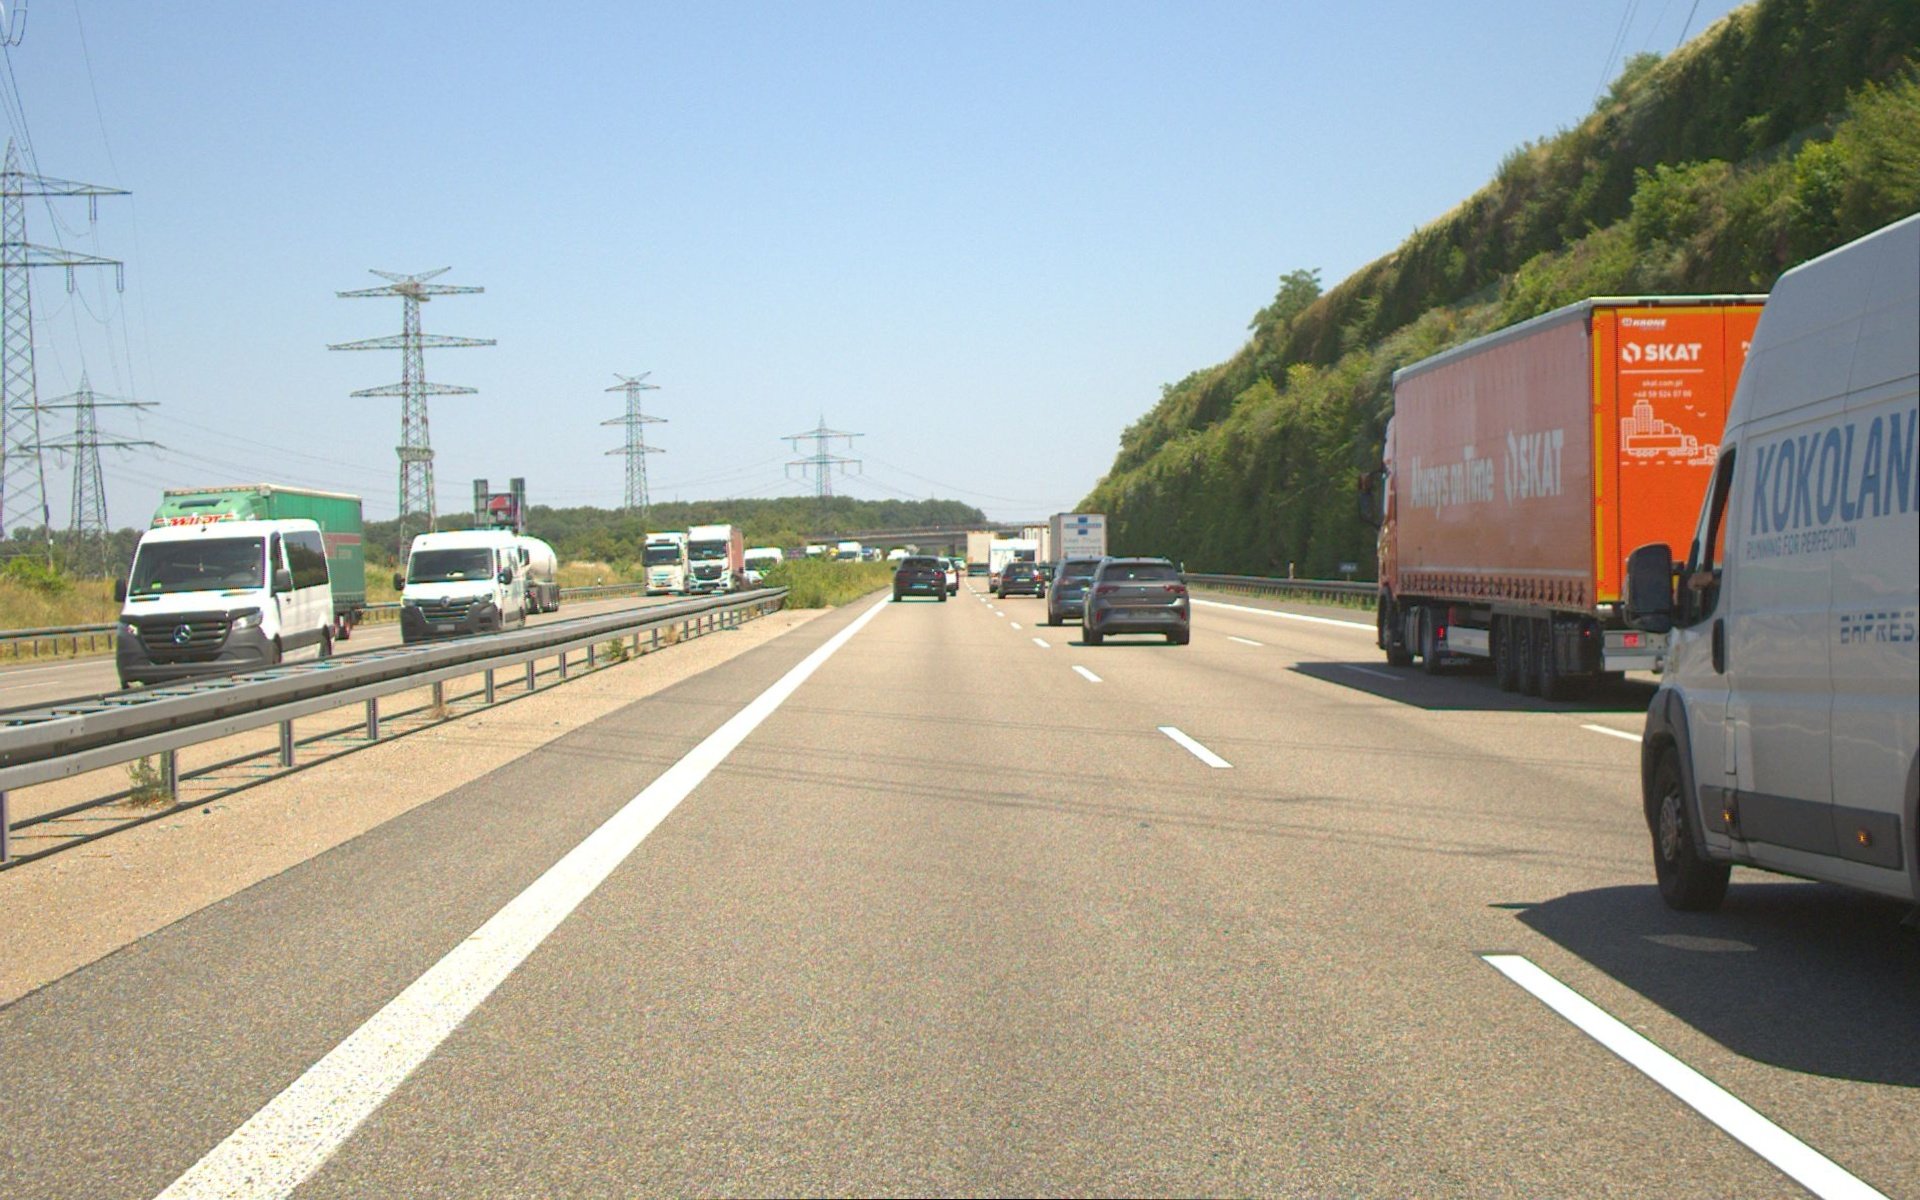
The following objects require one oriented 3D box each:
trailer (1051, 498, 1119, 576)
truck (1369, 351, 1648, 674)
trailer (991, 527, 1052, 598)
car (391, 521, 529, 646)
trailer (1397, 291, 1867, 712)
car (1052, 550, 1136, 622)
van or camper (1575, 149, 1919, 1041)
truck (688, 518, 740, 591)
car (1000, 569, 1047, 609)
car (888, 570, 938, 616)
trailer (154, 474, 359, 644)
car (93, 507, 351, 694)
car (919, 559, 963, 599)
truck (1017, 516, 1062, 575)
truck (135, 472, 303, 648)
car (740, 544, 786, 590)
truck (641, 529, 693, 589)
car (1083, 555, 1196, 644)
[{"bbox_3d":[6.882,-3.458,190.965,3.183,4.107,13.431,-1,1,0],"label":"trailer"},{"bbox_3d":[7.194,-1.125,45.921,2.618,3.979,6.527,-1,1,0],"label":"truck"},{"bbox_3d":[2.893,-1.785,164.405,2.610,3.202,9.953,-1,1,0],"label":"trailer"},{"bbox_3d":[-10.454,-0.376,72.314,2.047,2.430,6.070,-2,1,-1],"label":"car"},{"bbox_3d":[7.249,-1.025,39.447,2.645,3.991,13.606,0,1,0],"label":"trailer"},{"bbox_3d":[3.149,-0.347,81.410,1.794,1.647,4.138,-1,1,0],"label":"car"},{"bbox_3d":[3.972,-0.045,12.481,2.096,2.759,6.757,-1,1,-1],"label":"van or camper"},{"bbox_3d":[-14.746,-2.733,206.523,2.600,4.197,5.909,-2,1,0],"label":"truck"},{"bbox_3d":[2.565,-0.454,138.774,1.830,1.520,4.000,-2,1,1],"label":"car"},{"bbox_3d":[-1.762,-0.279,129.632,1.830,1.665,4.000,-2,1,0],"label":"car"},{"bbox_3d":[-18.372,-1.091,90.803,2.669,4.071,13.917,-2,1,-1],"label":"trailer"},{"bbox_3d":[-9.879,-0.041,46.614,2.108,2.290,6.707,-2,1,-1],"label":"car"},{"bbox_3d":[-0.822,-0.937,149.105,1.830,1.665,4.000,-2,1,0],"label":"car"},{"bbox_3d":[5.929,-4.083,258.036,3.119,4.265,11.933,-1,1,0],"label":"truck"},{"bbox_3d":[-18.292,-0.999,85.292,2.699,4.120,6.581,-2,1,-1],"label":"truck"},{"bbox_3d":[-10.605,-1.792,185.454,1.993,2.429,6.030,-2,1,1],"label":"car"},{"bbox_3d":[-19.042,-2.687,223.916,2.835,3.738,6.850,-2,1,-1],"label":"truck"},{"bbox_3d":[3.193,-0.037,61.851,1.749,1.520,3.995,-1,1,-1],"label":"car"}]
